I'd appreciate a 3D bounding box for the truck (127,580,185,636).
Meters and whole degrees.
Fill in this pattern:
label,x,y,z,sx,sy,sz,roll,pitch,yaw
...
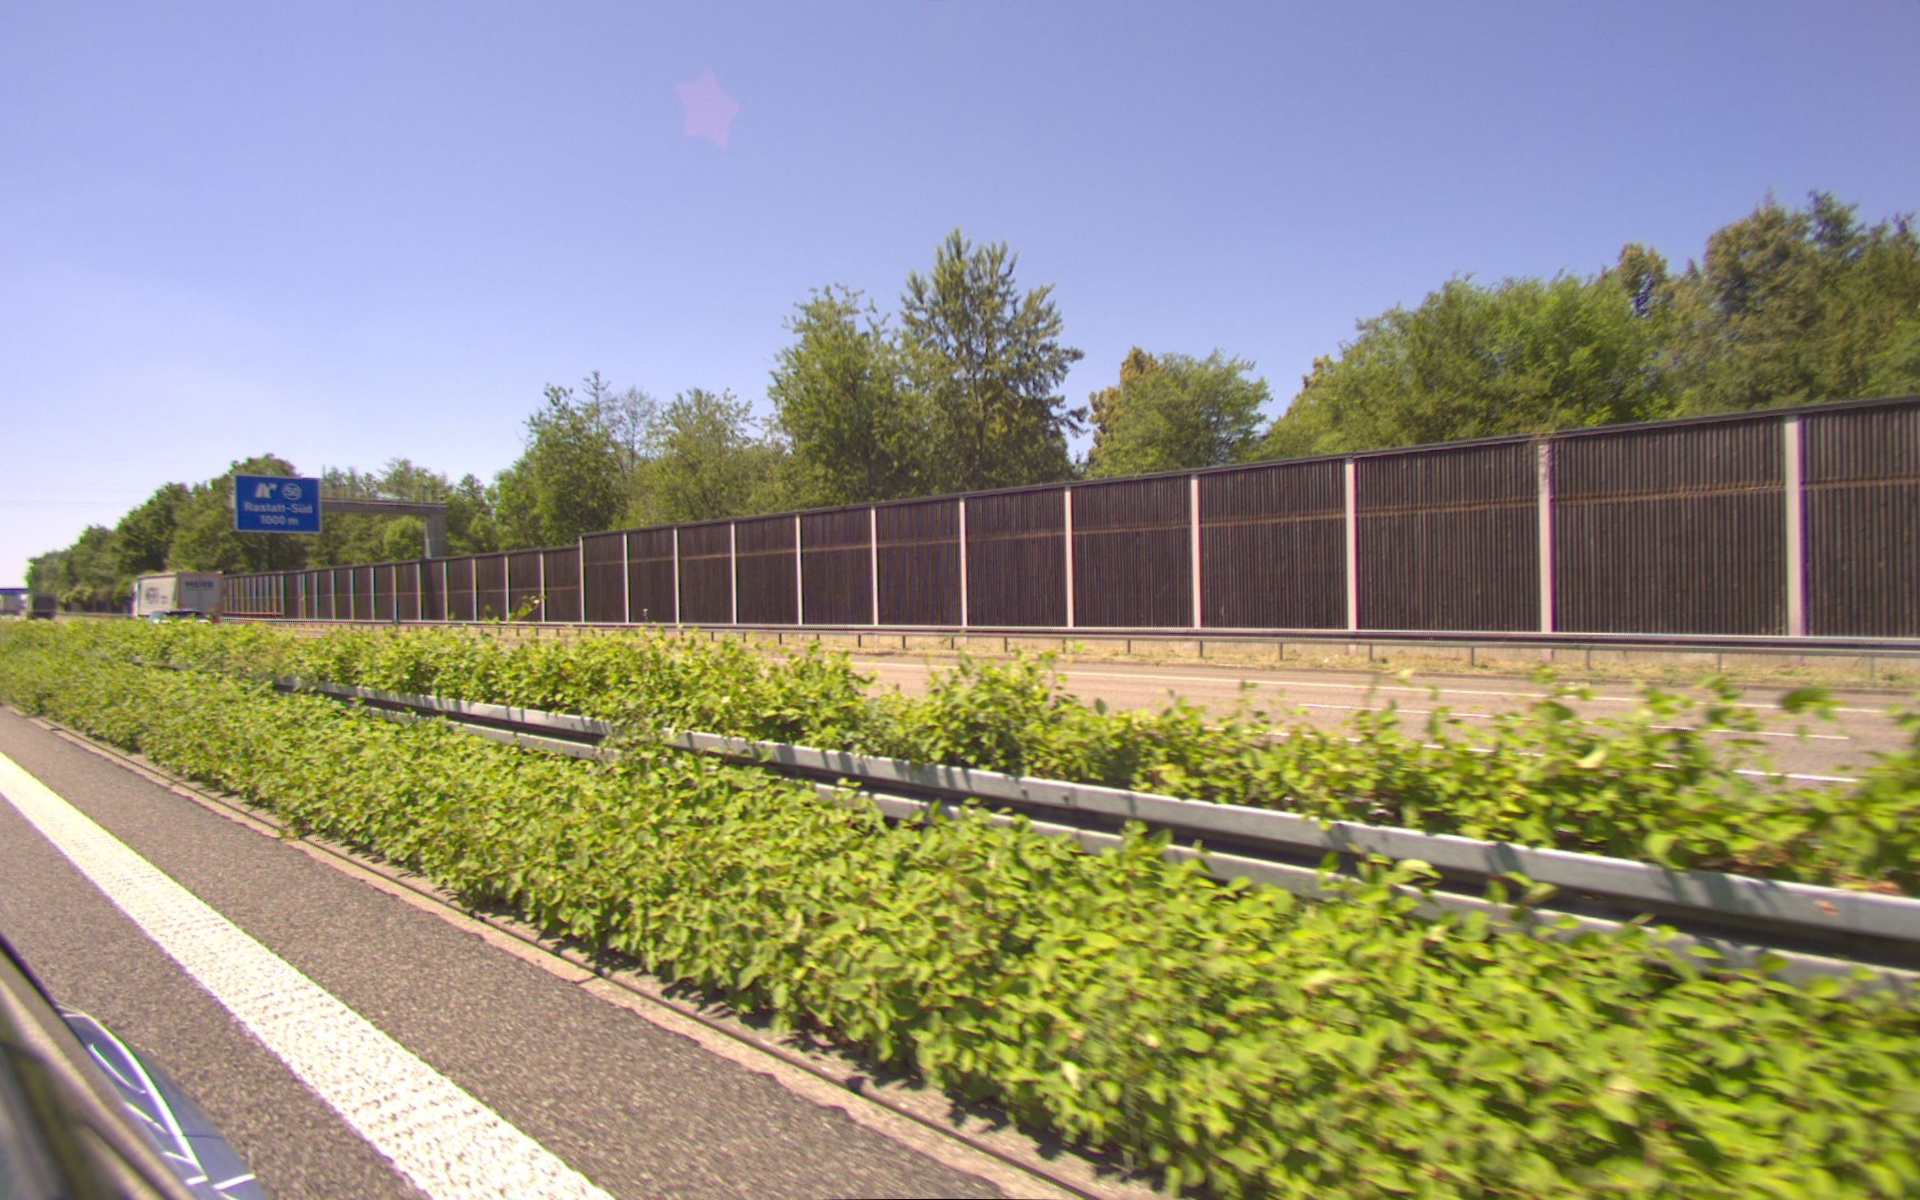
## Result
label,x,y,z,sx,sy,sz,roll,pitch,yaw
truck,-61.265,0.637,77.037,6.370,4.097,2.493,-1,-1,42

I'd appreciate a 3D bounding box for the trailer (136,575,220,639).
label,x,y,z,sx,sy,sz,roll,pitch,yaw
trailer,-55.802,0.543,72.028,13.651,4.167,2.457,-1,-1,43

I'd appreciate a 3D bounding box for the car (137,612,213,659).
label,x,y,z,sx,sy,sz,roll,pitch,yaw
car,-28.728,1.254,37.001,3.999,1.600,1.566,-1,-1,42

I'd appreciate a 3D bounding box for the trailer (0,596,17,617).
label,x,y,z,sx,sy,sz,roll,pitch,yaw
trailer,-182.490,1.237,193.172,13.762,3.939,2.699,-1,-1,43

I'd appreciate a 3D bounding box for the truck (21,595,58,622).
label,x,y,z,sx,sy,sz,roll,pitch,yaw
truck,-124.053,1.159,136.349,9.951,3.632,2.839,-1,-1,43
